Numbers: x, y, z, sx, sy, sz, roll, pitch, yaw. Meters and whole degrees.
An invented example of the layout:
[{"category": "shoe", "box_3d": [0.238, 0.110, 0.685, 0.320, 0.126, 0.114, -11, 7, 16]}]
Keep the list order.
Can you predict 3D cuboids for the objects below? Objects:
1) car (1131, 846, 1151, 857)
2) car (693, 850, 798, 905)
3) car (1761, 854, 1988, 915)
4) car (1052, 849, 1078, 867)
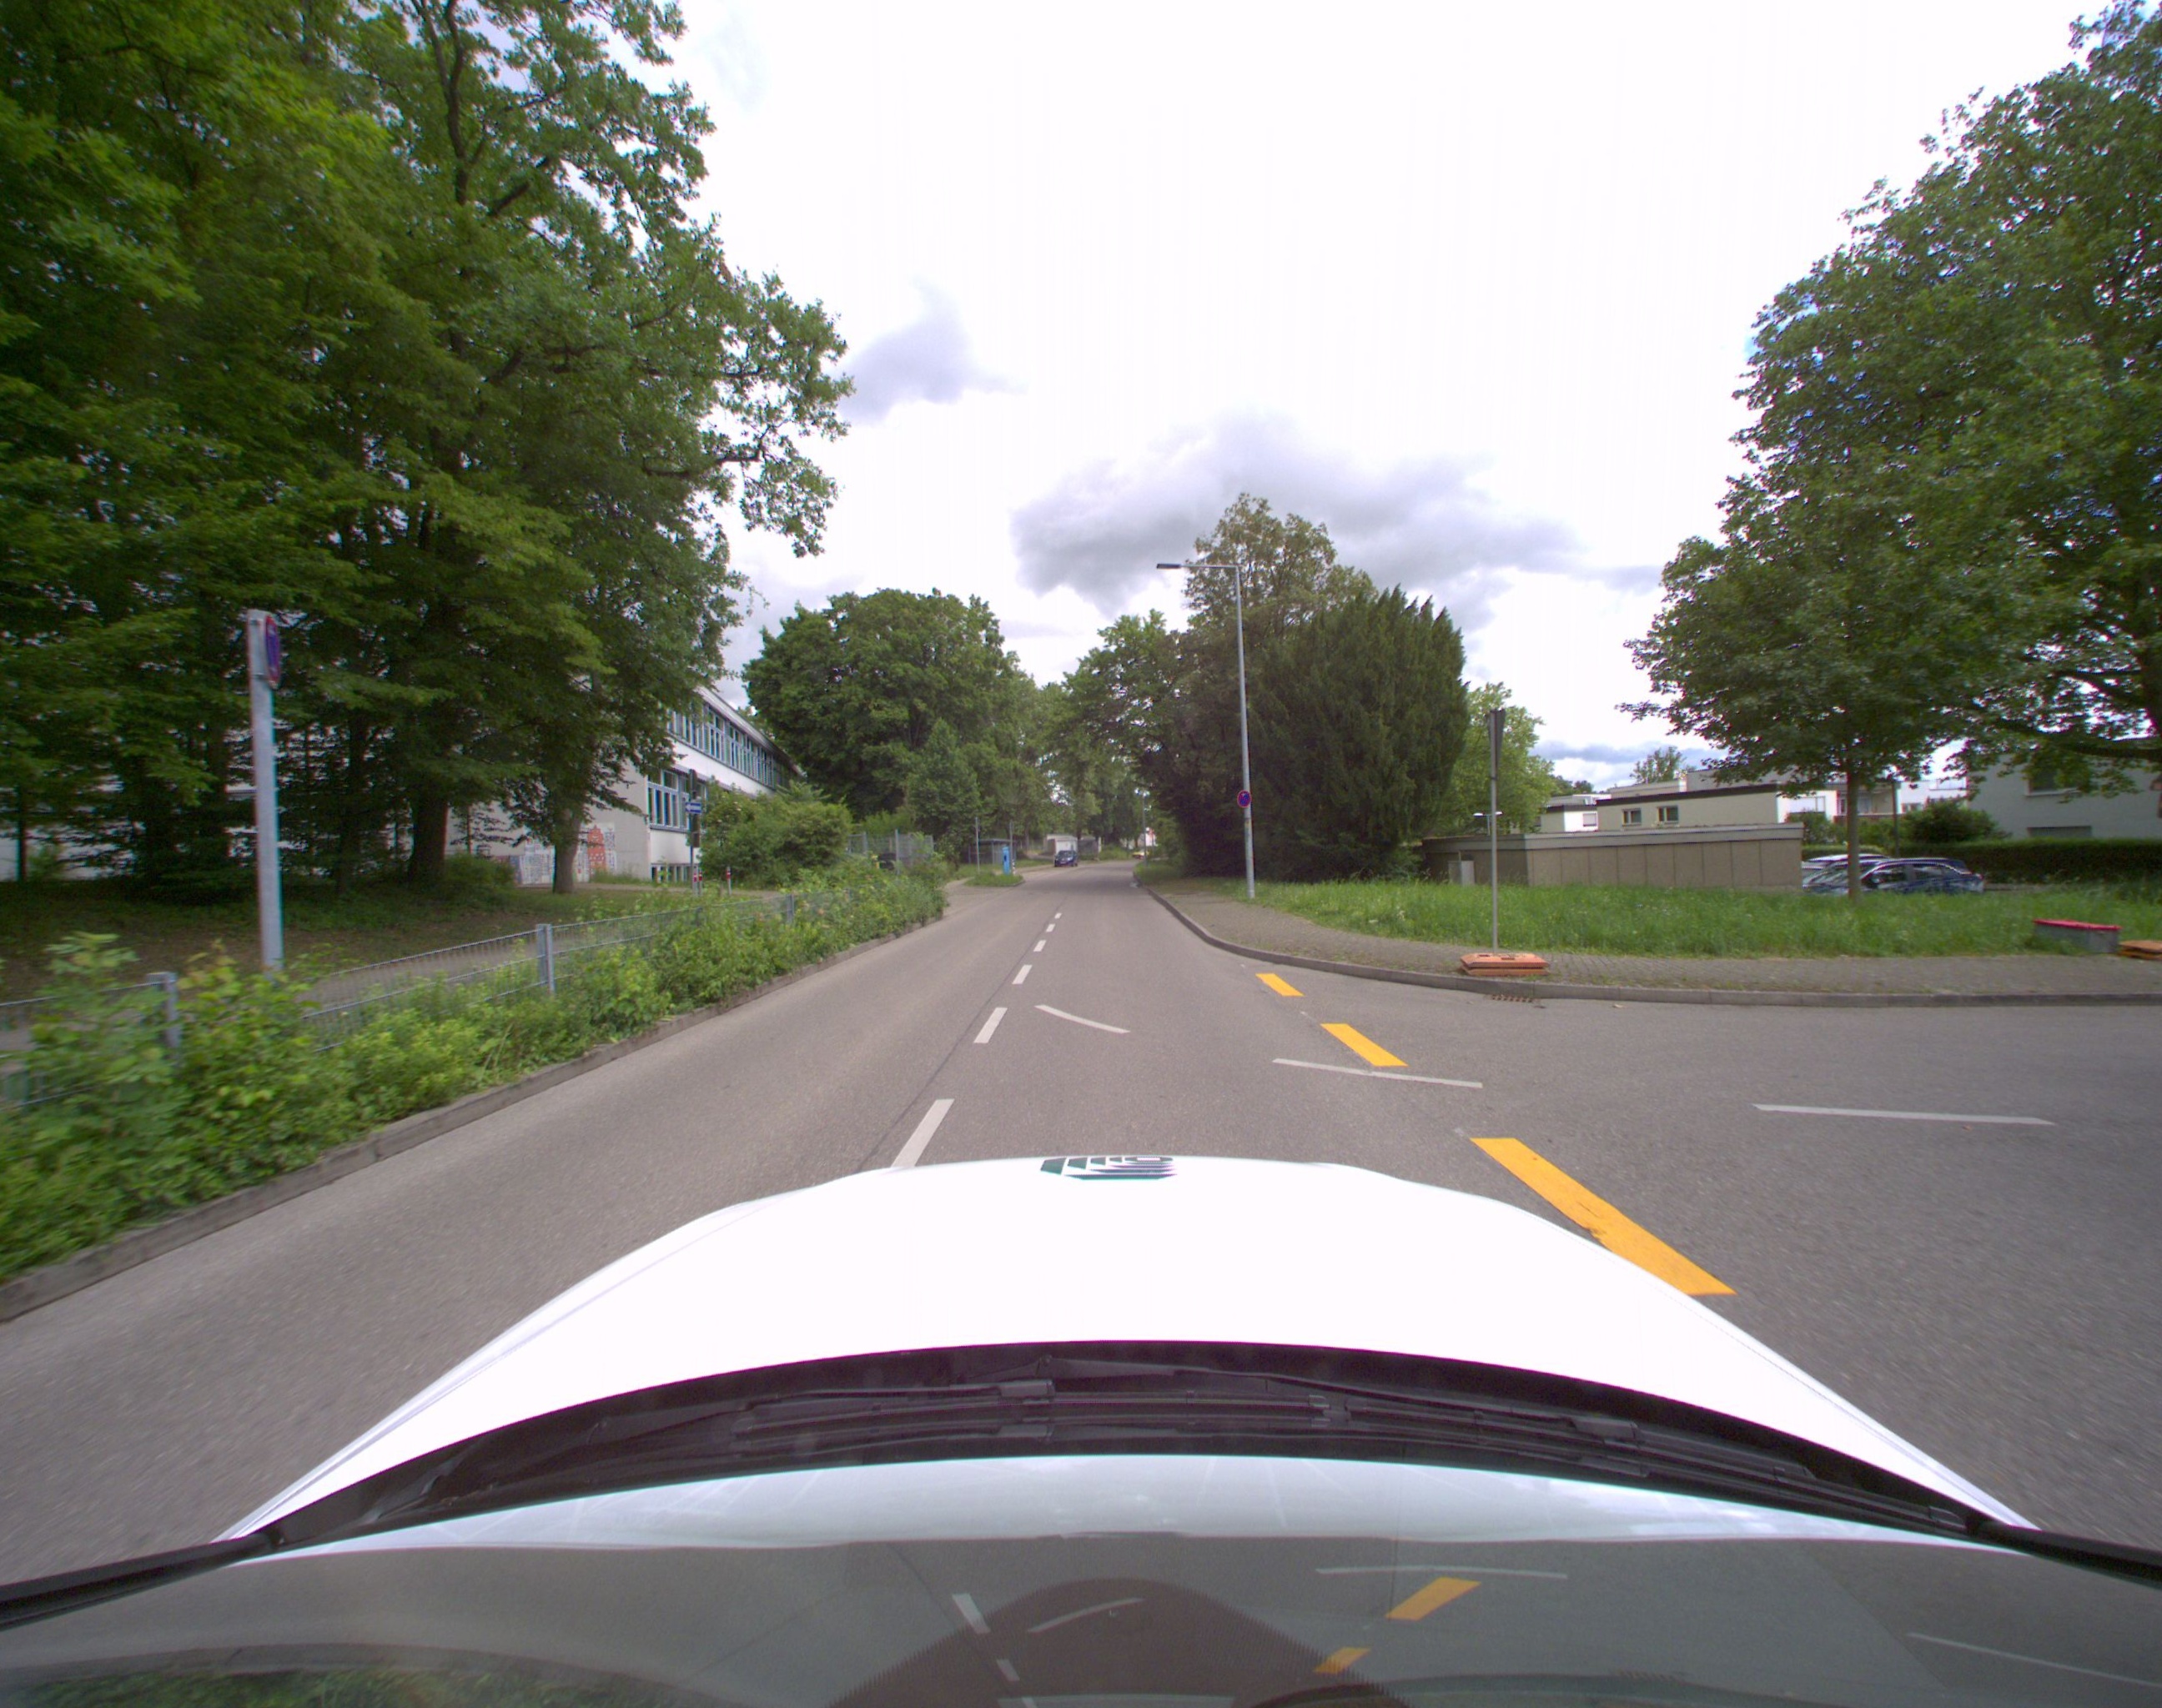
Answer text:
[{"category": "car", "box_3d": [8.144, -0.380, 110.587, 1.686, 1.403, 4.294, -1, 0, 19]}, {"category": "car", "box_3d": [-13.831, 0.918, 33.845, 1.980, 2.013, 4.015, -2, 0, 13]}, {"category": "car", "box_3d": [18.294, 0.666, 18.911, 3.548, 1.315, 1.810, 0, 0, 0]}, {"category": "car", "box_3d": [-1.428, 0.351, 73.325, 1.671, 1.511, 4.440, -1, 0, 7]}]
